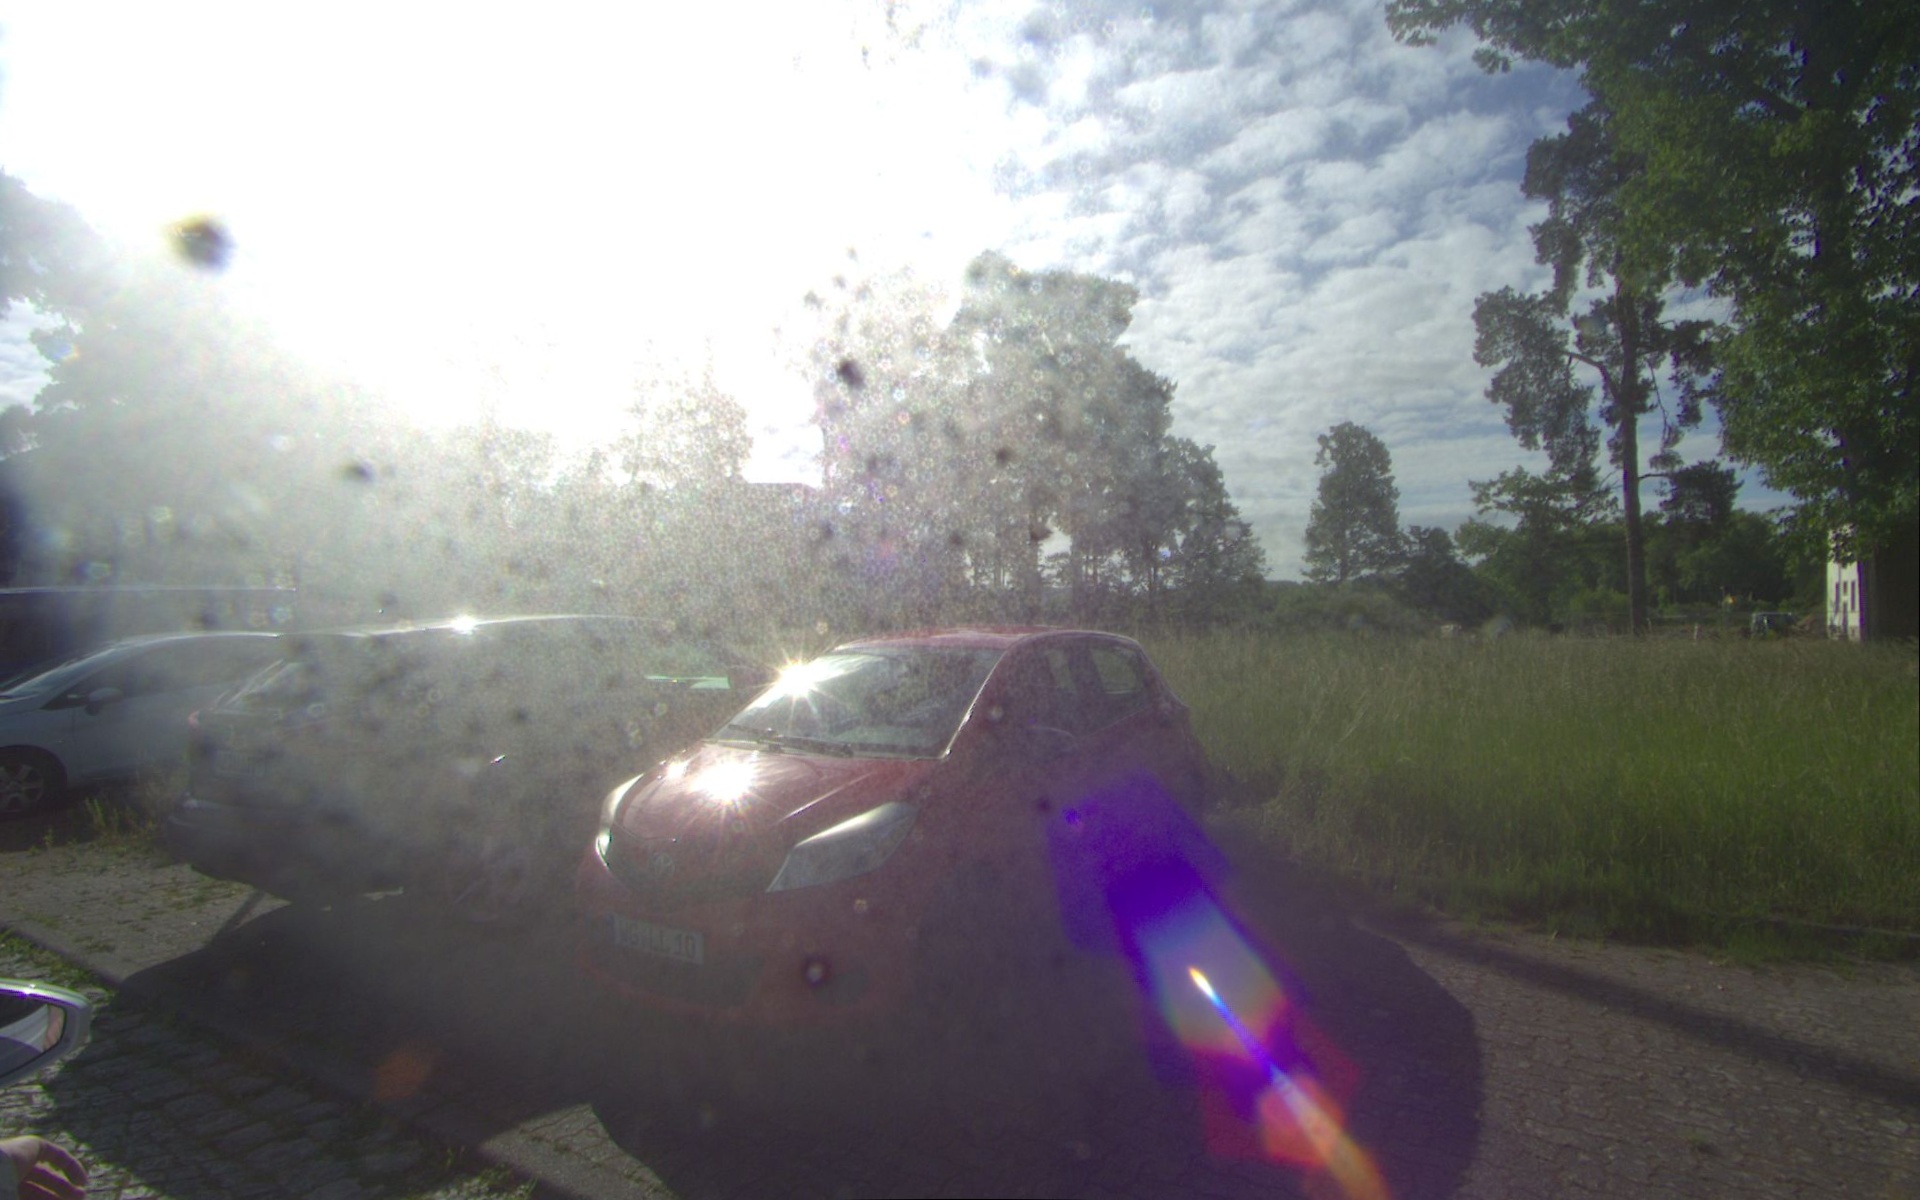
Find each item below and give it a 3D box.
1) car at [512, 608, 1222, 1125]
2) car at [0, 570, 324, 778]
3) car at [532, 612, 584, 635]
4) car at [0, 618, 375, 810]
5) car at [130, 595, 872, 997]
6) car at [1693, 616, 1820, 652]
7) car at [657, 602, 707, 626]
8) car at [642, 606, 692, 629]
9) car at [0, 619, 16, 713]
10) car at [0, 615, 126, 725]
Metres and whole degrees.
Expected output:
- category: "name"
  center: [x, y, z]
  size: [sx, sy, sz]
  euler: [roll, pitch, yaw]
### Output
- category: "car"
  center: [-0.062, 0.835, 5.036]
  size: [1.622, 1.550, 3.755]
  euler: [0, -1, 32]
- category: "car"
  center: [-9.987, 0.746, 11.008]
  size: [2.052, 2.040, 4.673]
  euler: [0, -1, 29]
- category: "car"
  center: [-36.643, 2.102, 91.310]
  size: [1.971, 2.040, 3.980]
  euler: [0, -1, 32]
- category: "car"
  center: [-7.847, 0.946, 9.450]
  size: [1.621, 1.508, 3.714]
  euler: [0, 0, 30]
- category: "car"
  center: [-2.397, 0.838, 6.235]
  size: [1.746, 1.643, 3.930]
  euler: [0, -1, 31]
- category: "car"
  center: [51.127, 2.171, 64.451]
  size: [2.342, 2.199, 5.985]
  euler: [1, -2, -30]
- category: "car"
  center: [-24.525, 1.235, 88.506]
  size: [1.971, 2.040, 3.980]
  euler: [0, -1, 32]
- category: "car"
  center: [-26.223, 1.570, 89.687]
  size: [1.971, 2.040, 3.980]
  euler: [0, -1, 32]
- category: "car"
  center: [-16.868, 1.064, 14.997]
  size: [1.621, 1.486, 3.669]
  euler: [0, 0, 31]
- category: "car"
  center: [-14.192, 0.998, 13.910]
  size: [1.622, 1.485, 3.685]
  euler: [0, 1, 33]
